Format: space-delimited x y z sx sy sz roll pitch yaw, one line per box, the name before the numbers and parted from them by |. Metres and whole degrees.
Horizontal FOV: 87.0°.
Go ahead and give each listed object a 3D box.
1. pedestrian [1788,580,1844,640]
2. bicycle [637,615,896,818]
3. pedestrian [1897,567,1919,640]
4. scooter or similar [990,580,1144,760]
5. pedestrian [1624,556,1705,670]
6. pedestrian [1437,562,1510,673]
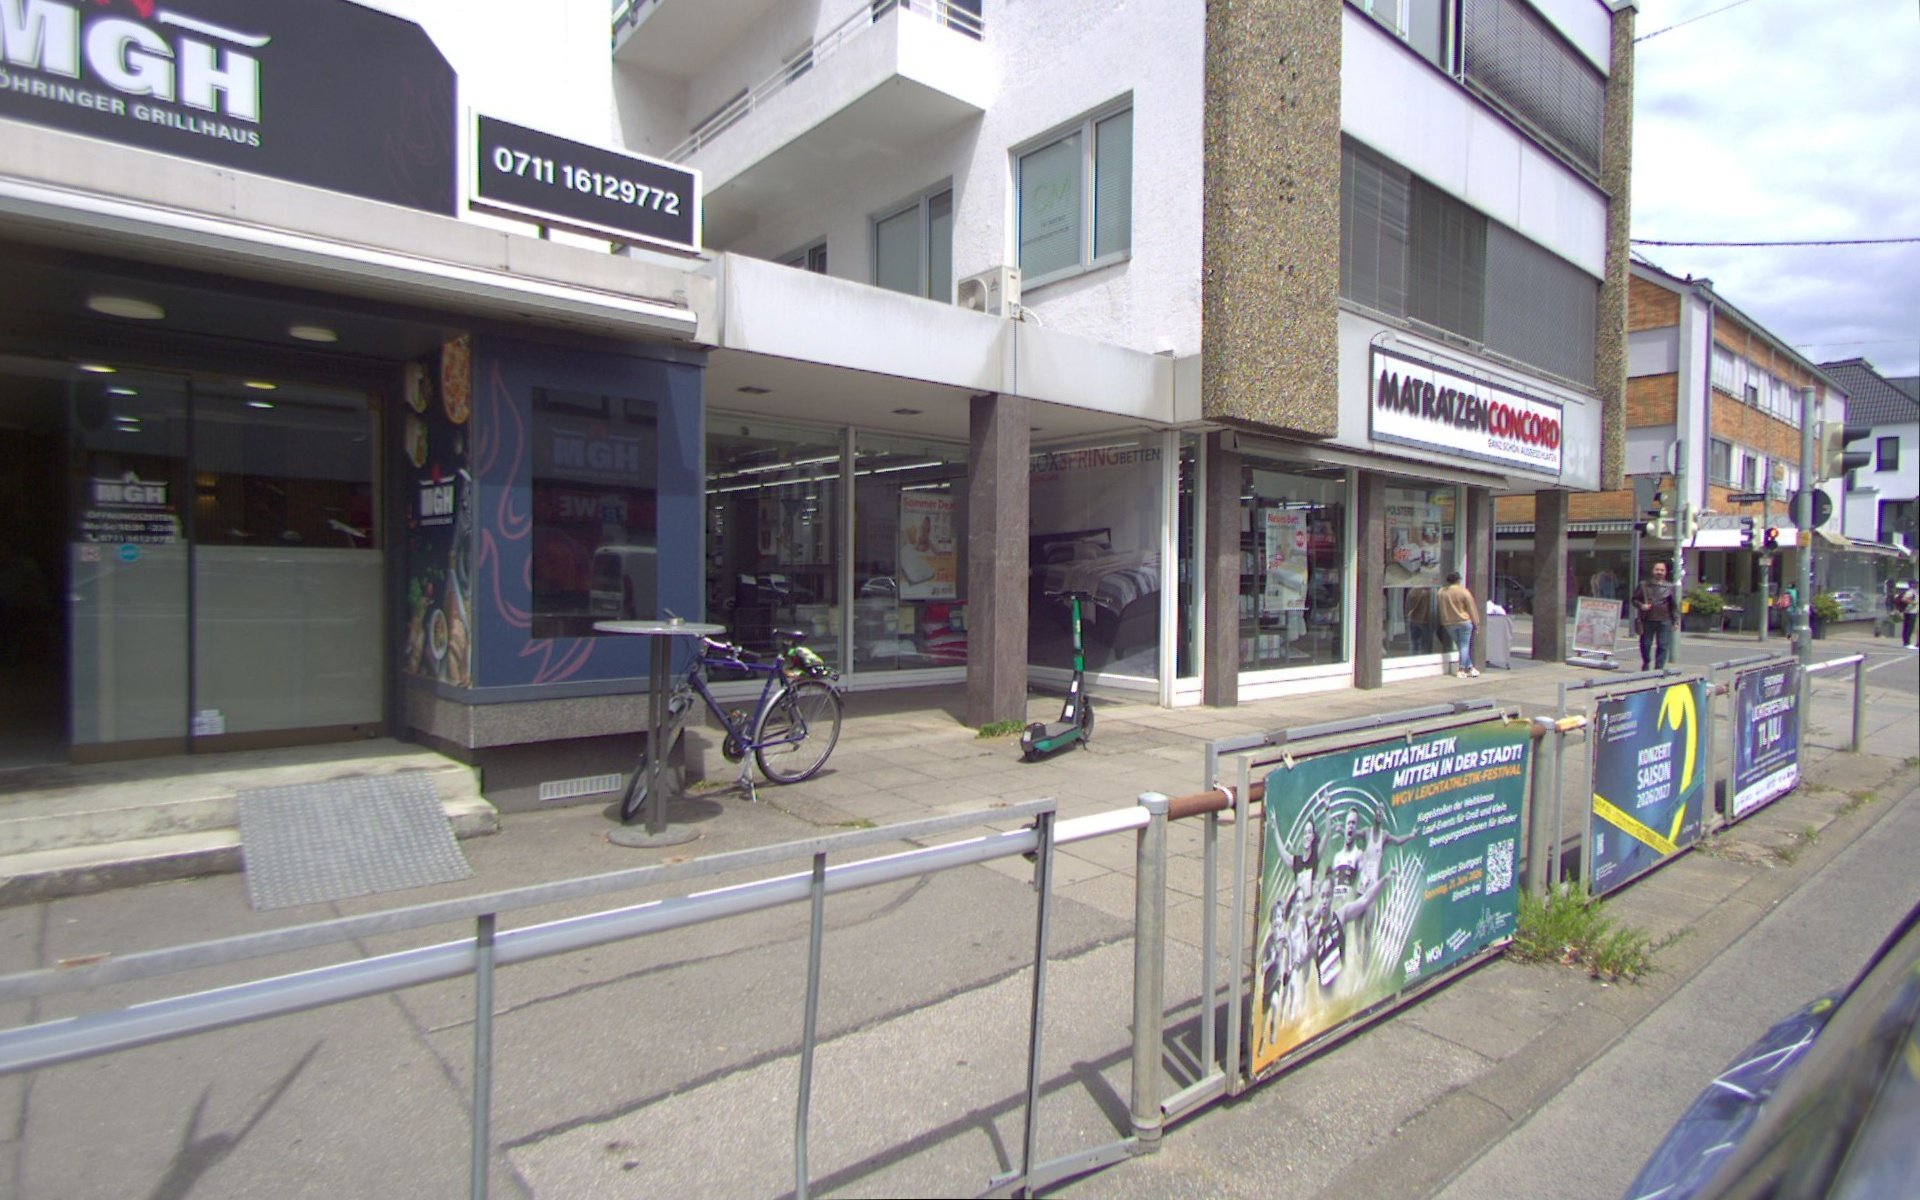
pedestrian | 22.636 0.256 26.787 0.807 1.544 0.777 2 1 13
bicycle | -1.131 0.642 6.223 0.474 1.040 1.612 2 2 40
pedestrian | 24.946 0.083 26.241 0.862 1.853 0.583 1 2 -24
scooter or similar | 0.862 0.497 8.001 0.686 1.283 1.169 2 2 38
pedestrian | 10.865 0.179 15.605 0.793 1.691 0.796 0 2 -40
pedestrian | 7.300 0.230 14.385 0.707 1.517 0.681 0 2 -40
